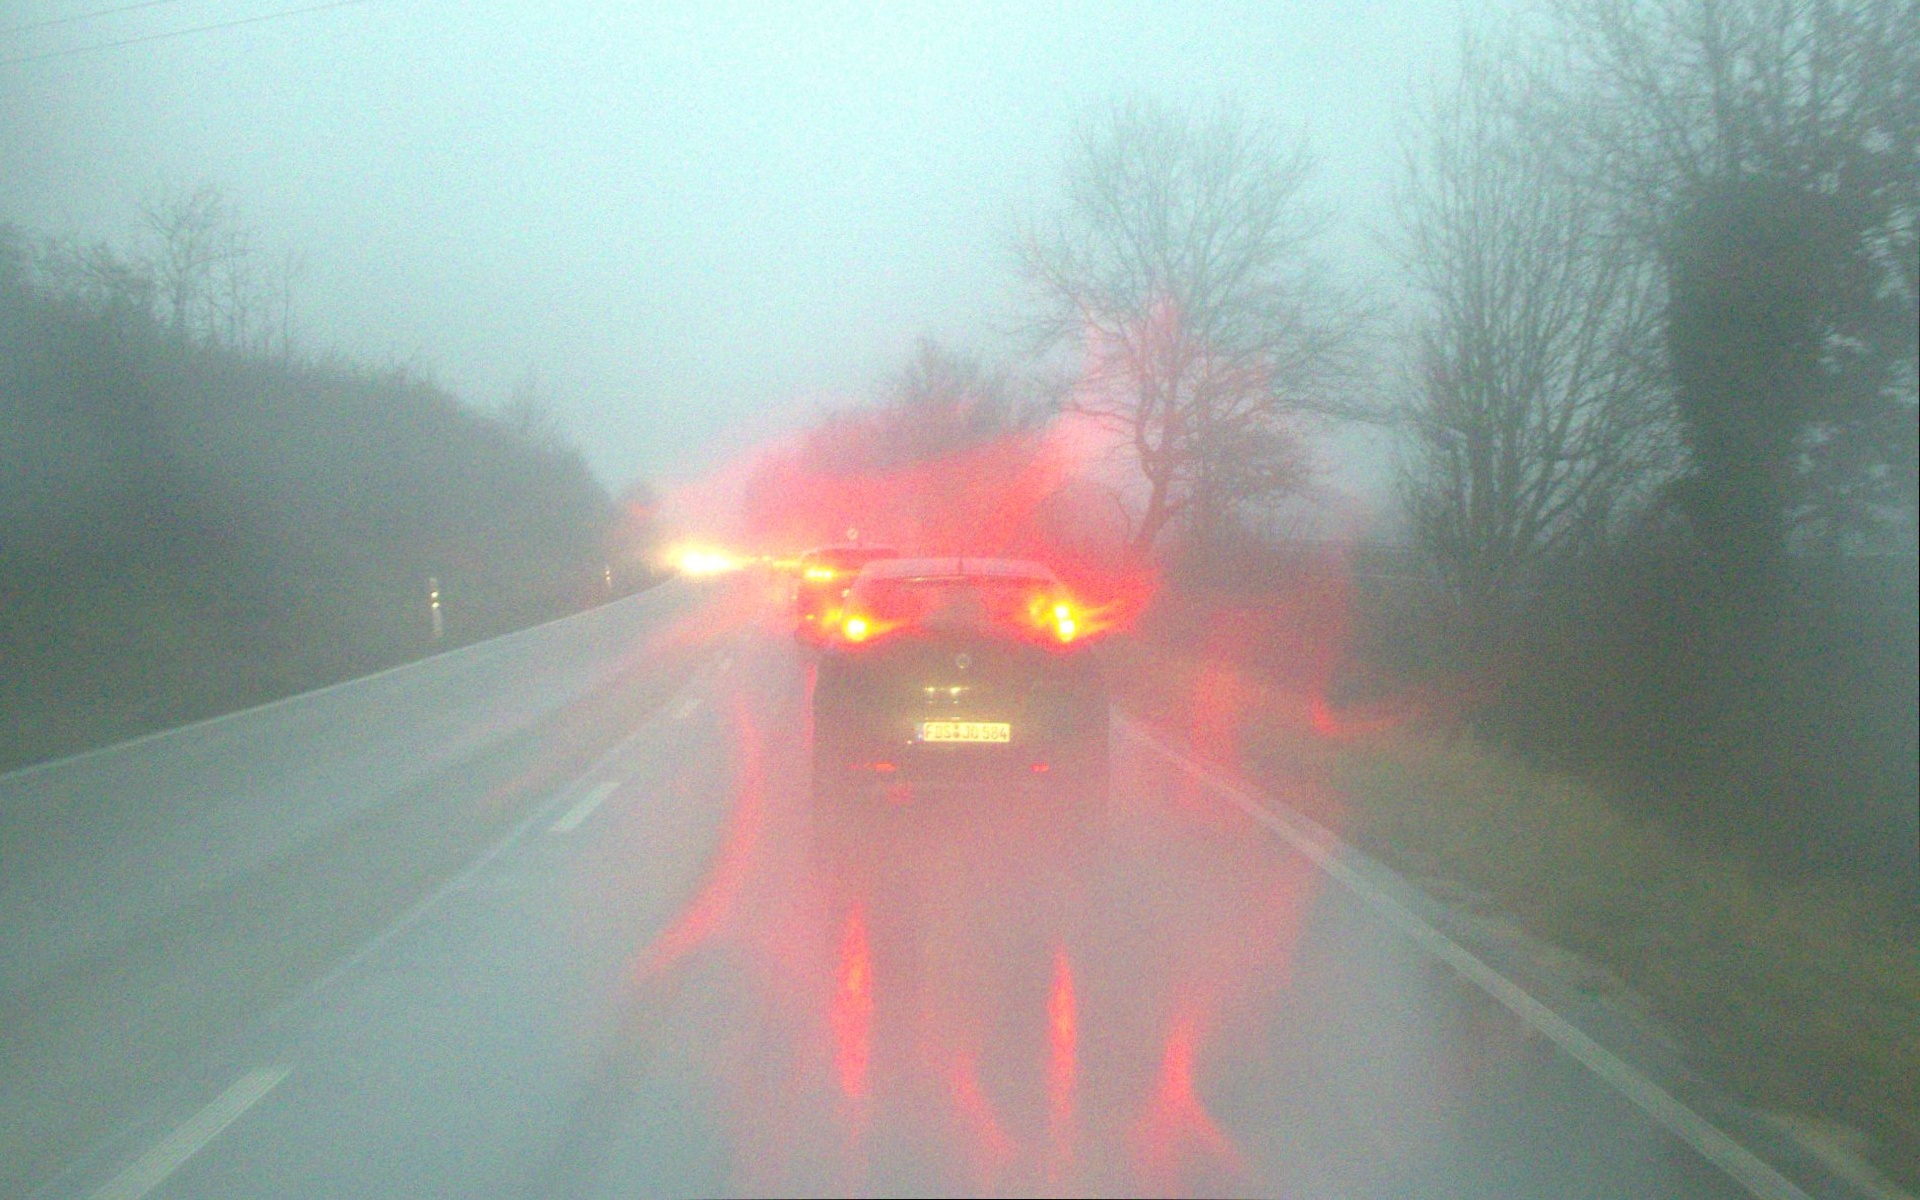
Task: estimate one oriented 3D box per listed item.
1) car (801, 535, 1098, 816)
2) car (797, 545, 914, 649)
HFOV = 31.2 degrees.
[{"bbox_3d":[-0.041,0.377,20.652,1.602,1.517,3.869,1,1,0],"label":"car"},{"bbox_3d":[-1.459,-0.072,48.946,1.547,1.392,3.870,1,1,0],"label":"car"}]
